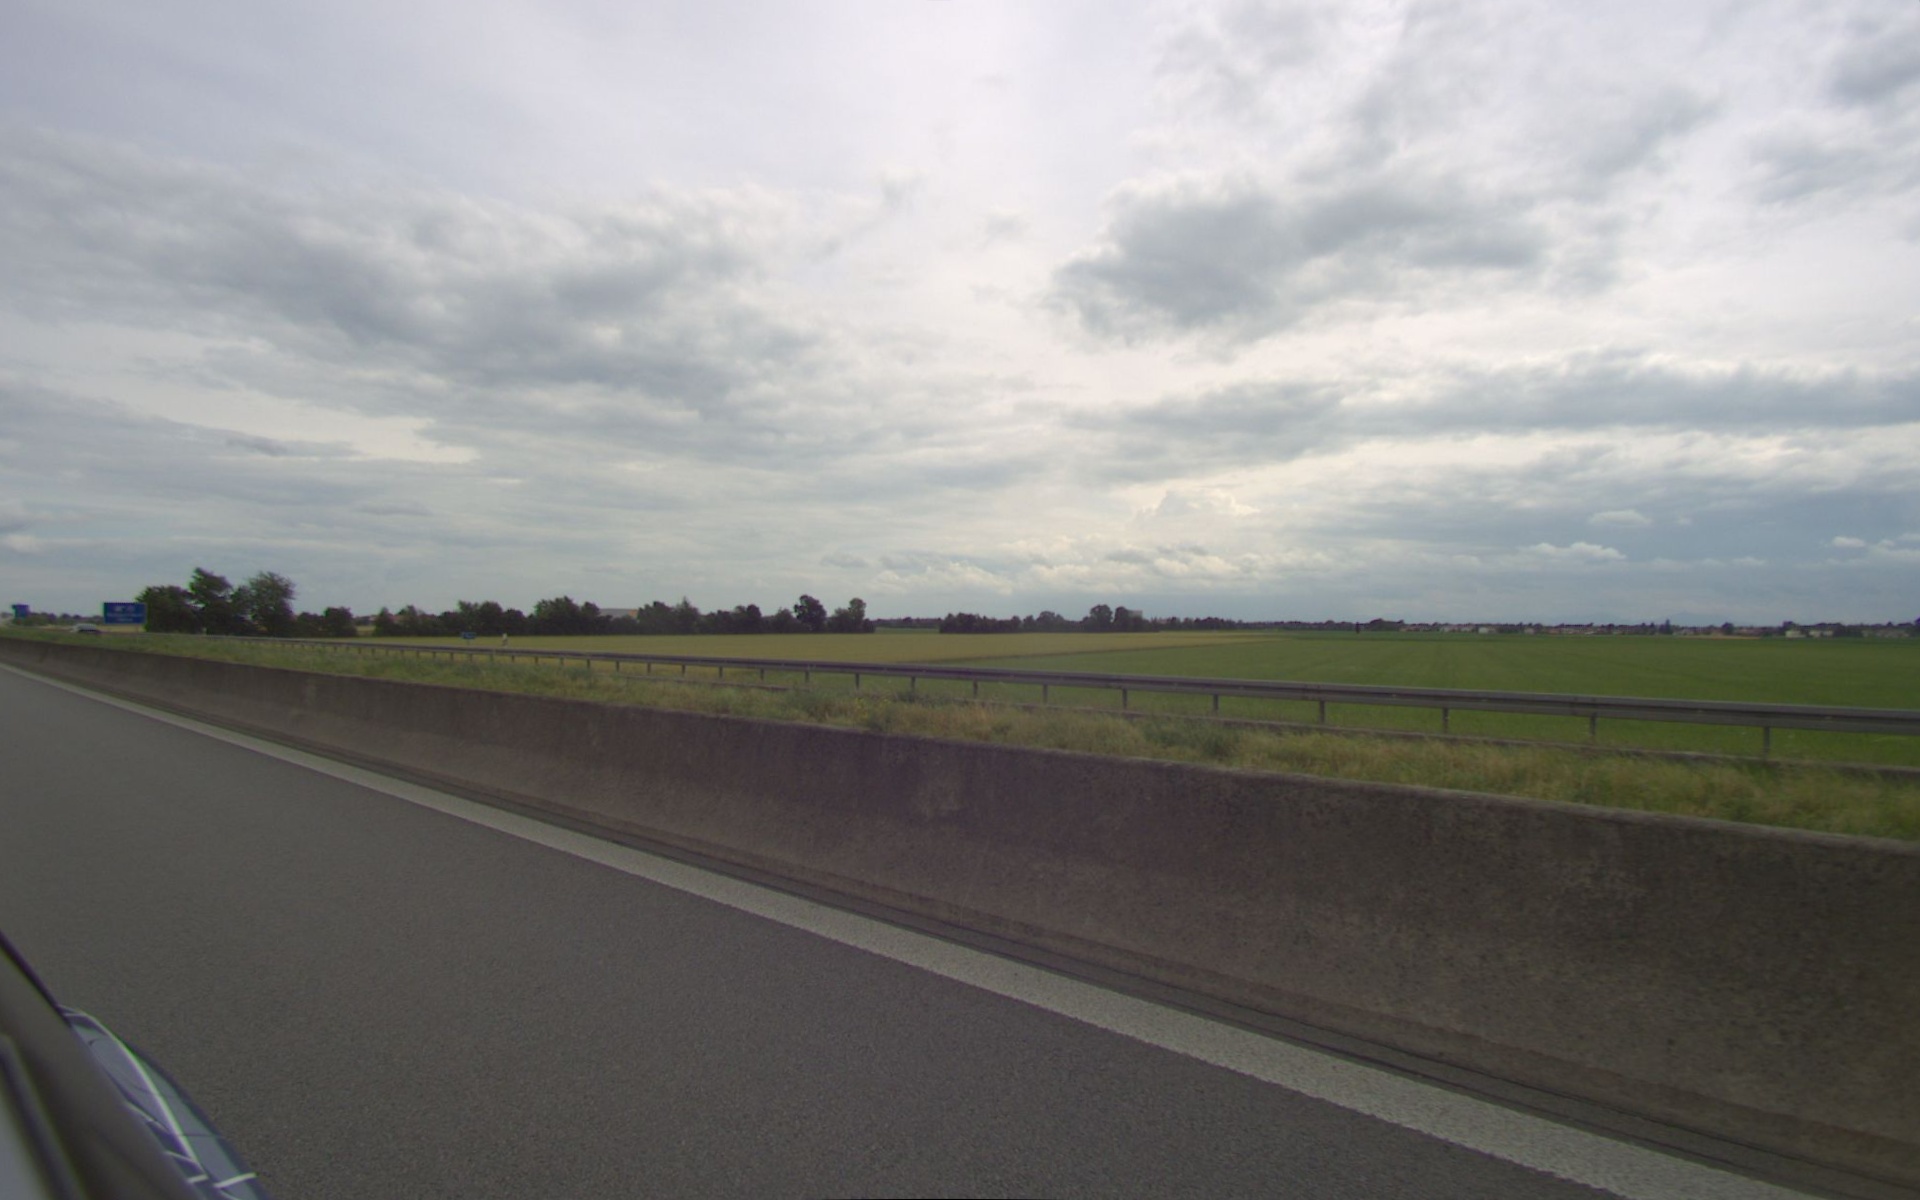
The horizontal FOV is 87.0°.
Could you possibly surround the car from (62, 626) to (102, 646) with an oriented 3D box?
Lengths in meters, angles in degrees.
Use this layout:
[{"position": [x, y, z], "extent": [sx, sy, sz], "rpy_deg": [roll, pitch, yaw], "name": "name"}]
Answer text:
[{"position": [-70.112, 2.879, 80.823], "extent": [4.903, 1.483, 1.770], "rpy_deg": [-1, -4, 42], "name": "car"}]
